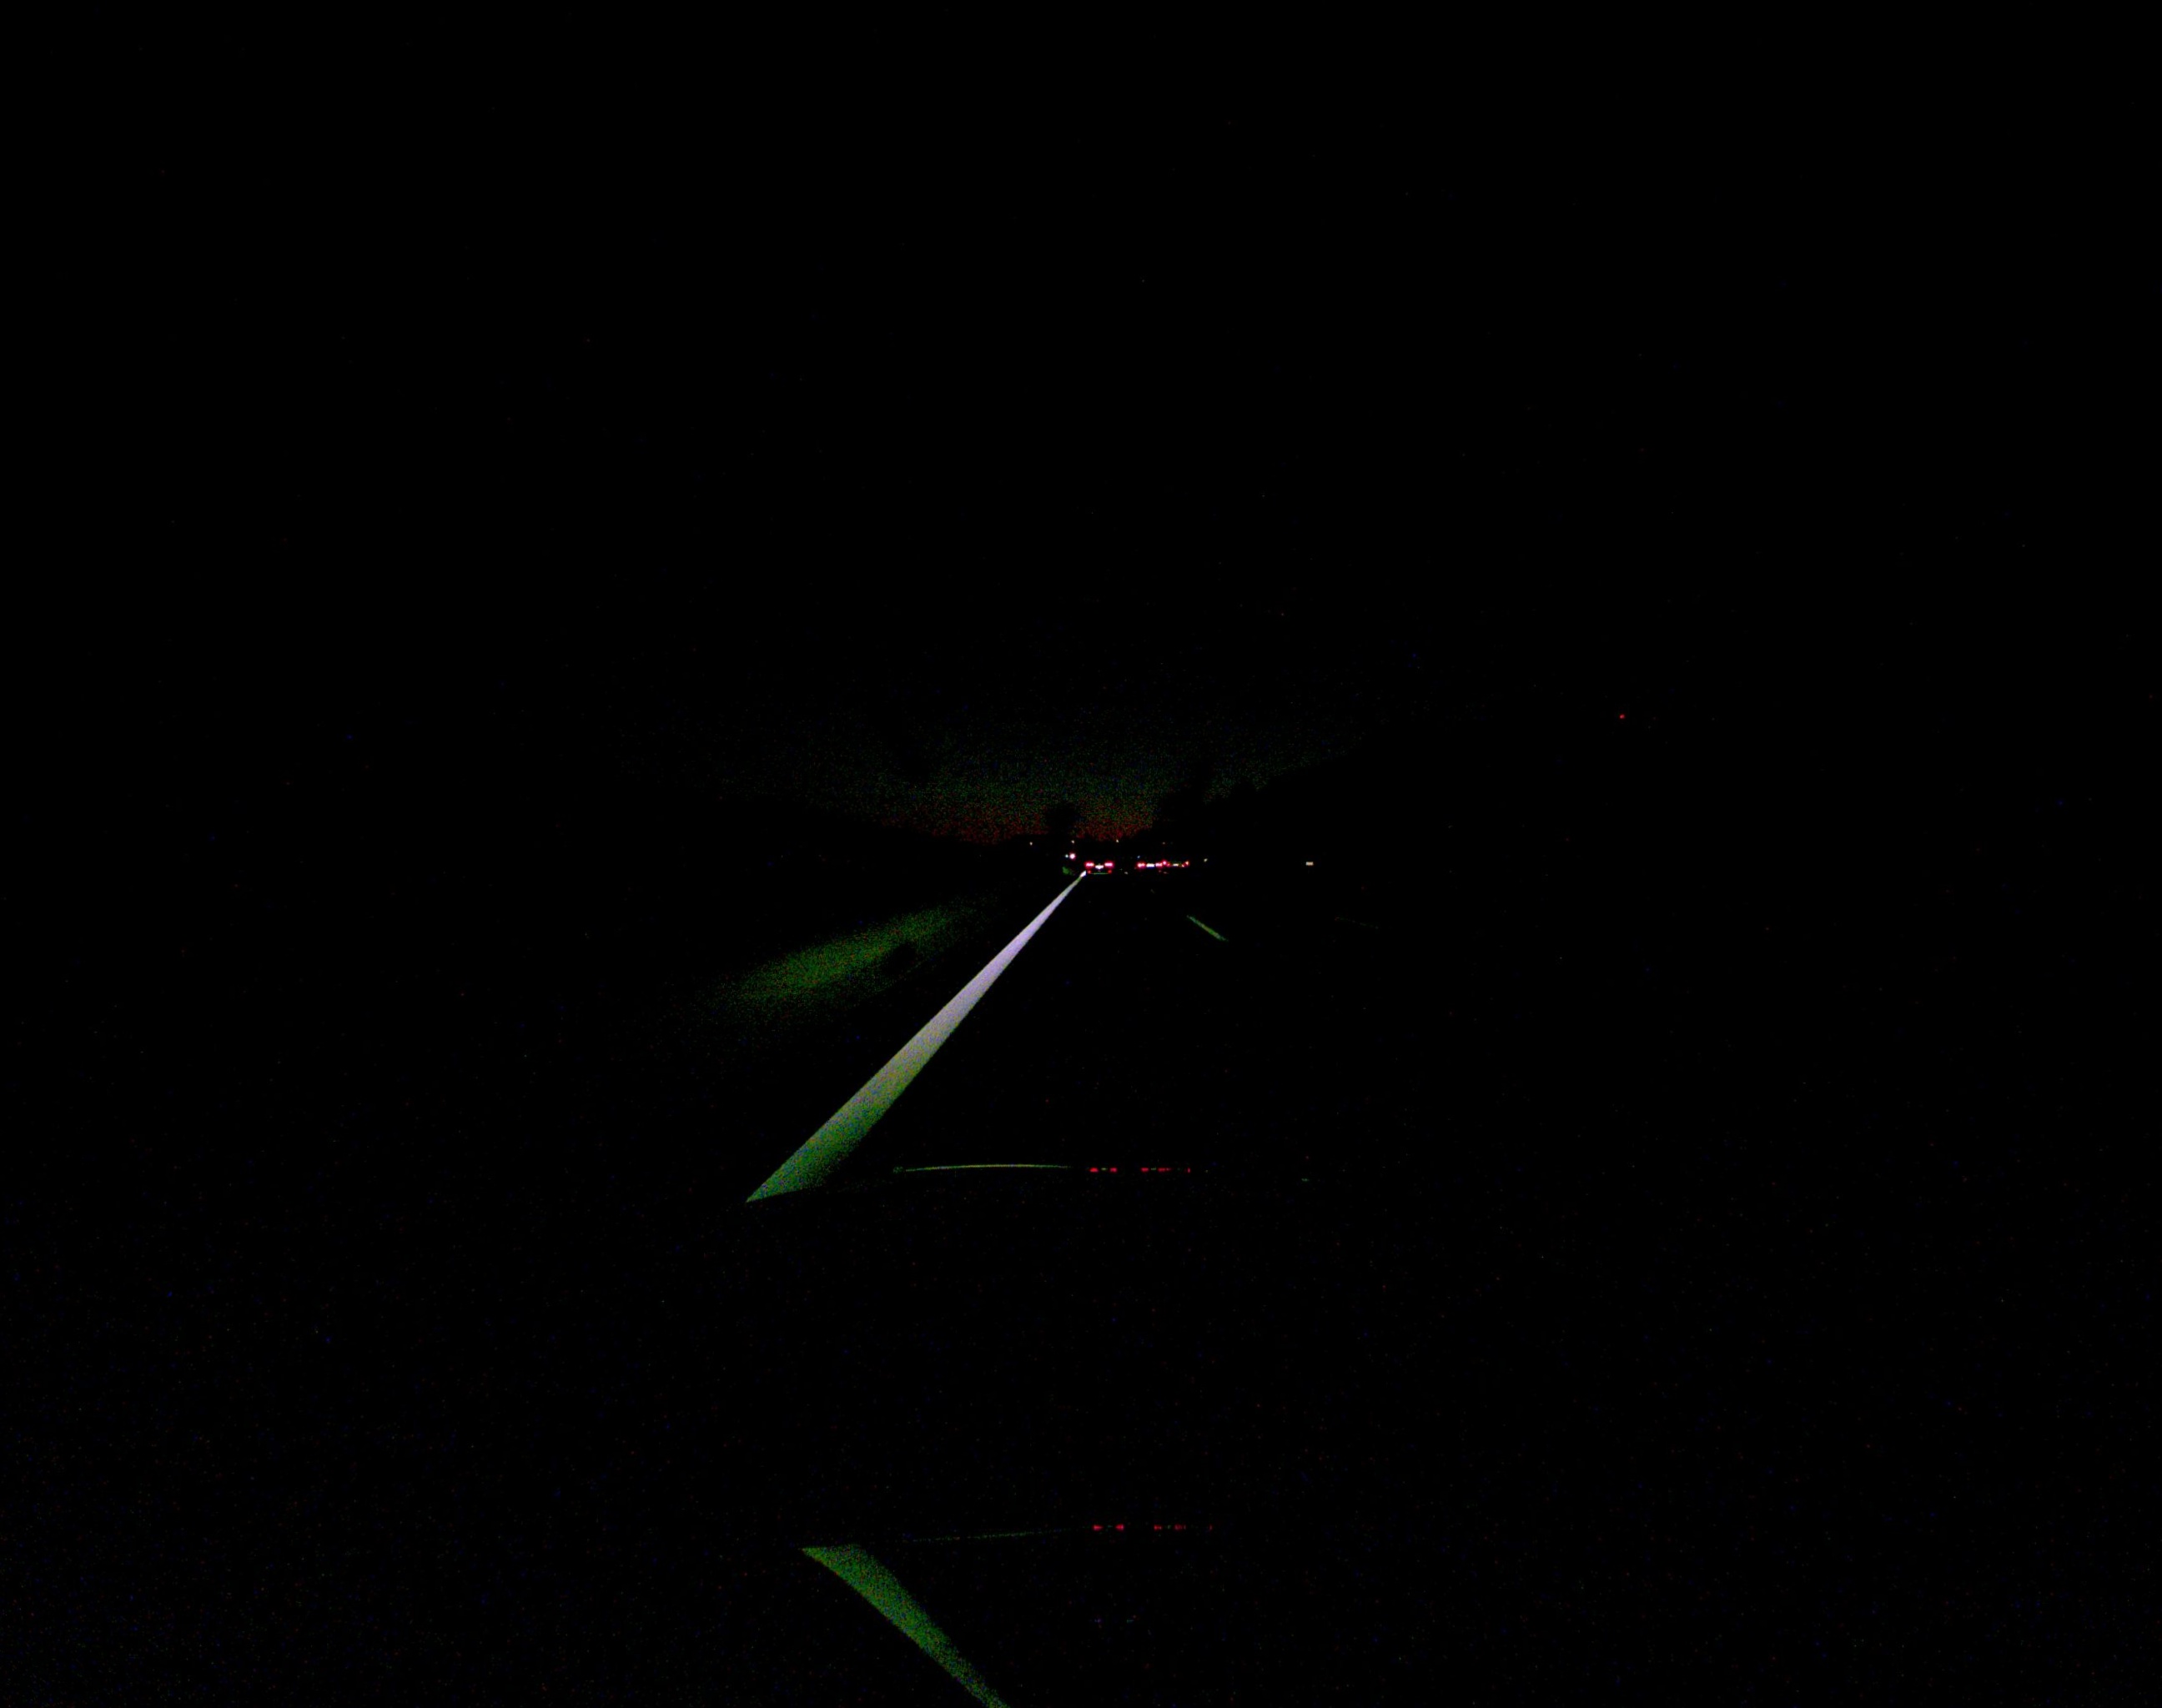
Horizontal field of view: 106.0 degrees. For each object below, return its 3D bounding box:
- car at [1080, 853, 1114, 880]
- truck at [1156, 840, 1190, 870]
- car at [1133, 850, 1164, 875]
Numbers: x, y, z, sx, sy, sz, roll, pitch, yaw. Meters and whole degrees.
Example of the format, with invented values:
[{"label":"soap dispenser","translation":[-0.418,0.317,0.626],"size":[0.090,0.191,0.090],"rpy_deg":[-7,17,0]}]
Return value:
[{"label":"car","translation":[0.984,0.794,52.731],"size":[2.099,1.618,4.203],"rpy_deg":[1,0,0]},{"label":"truck","translation":[9.888,0.097,88.349],"size":[2.594,2.875,7.486],"rpy_deg":[6,0,1]},{"label":"car","translation":[4.740,0.608,57.780],"size":[1.905,1.730,3.999],"rpy_deg":[0,-1,0]}]
